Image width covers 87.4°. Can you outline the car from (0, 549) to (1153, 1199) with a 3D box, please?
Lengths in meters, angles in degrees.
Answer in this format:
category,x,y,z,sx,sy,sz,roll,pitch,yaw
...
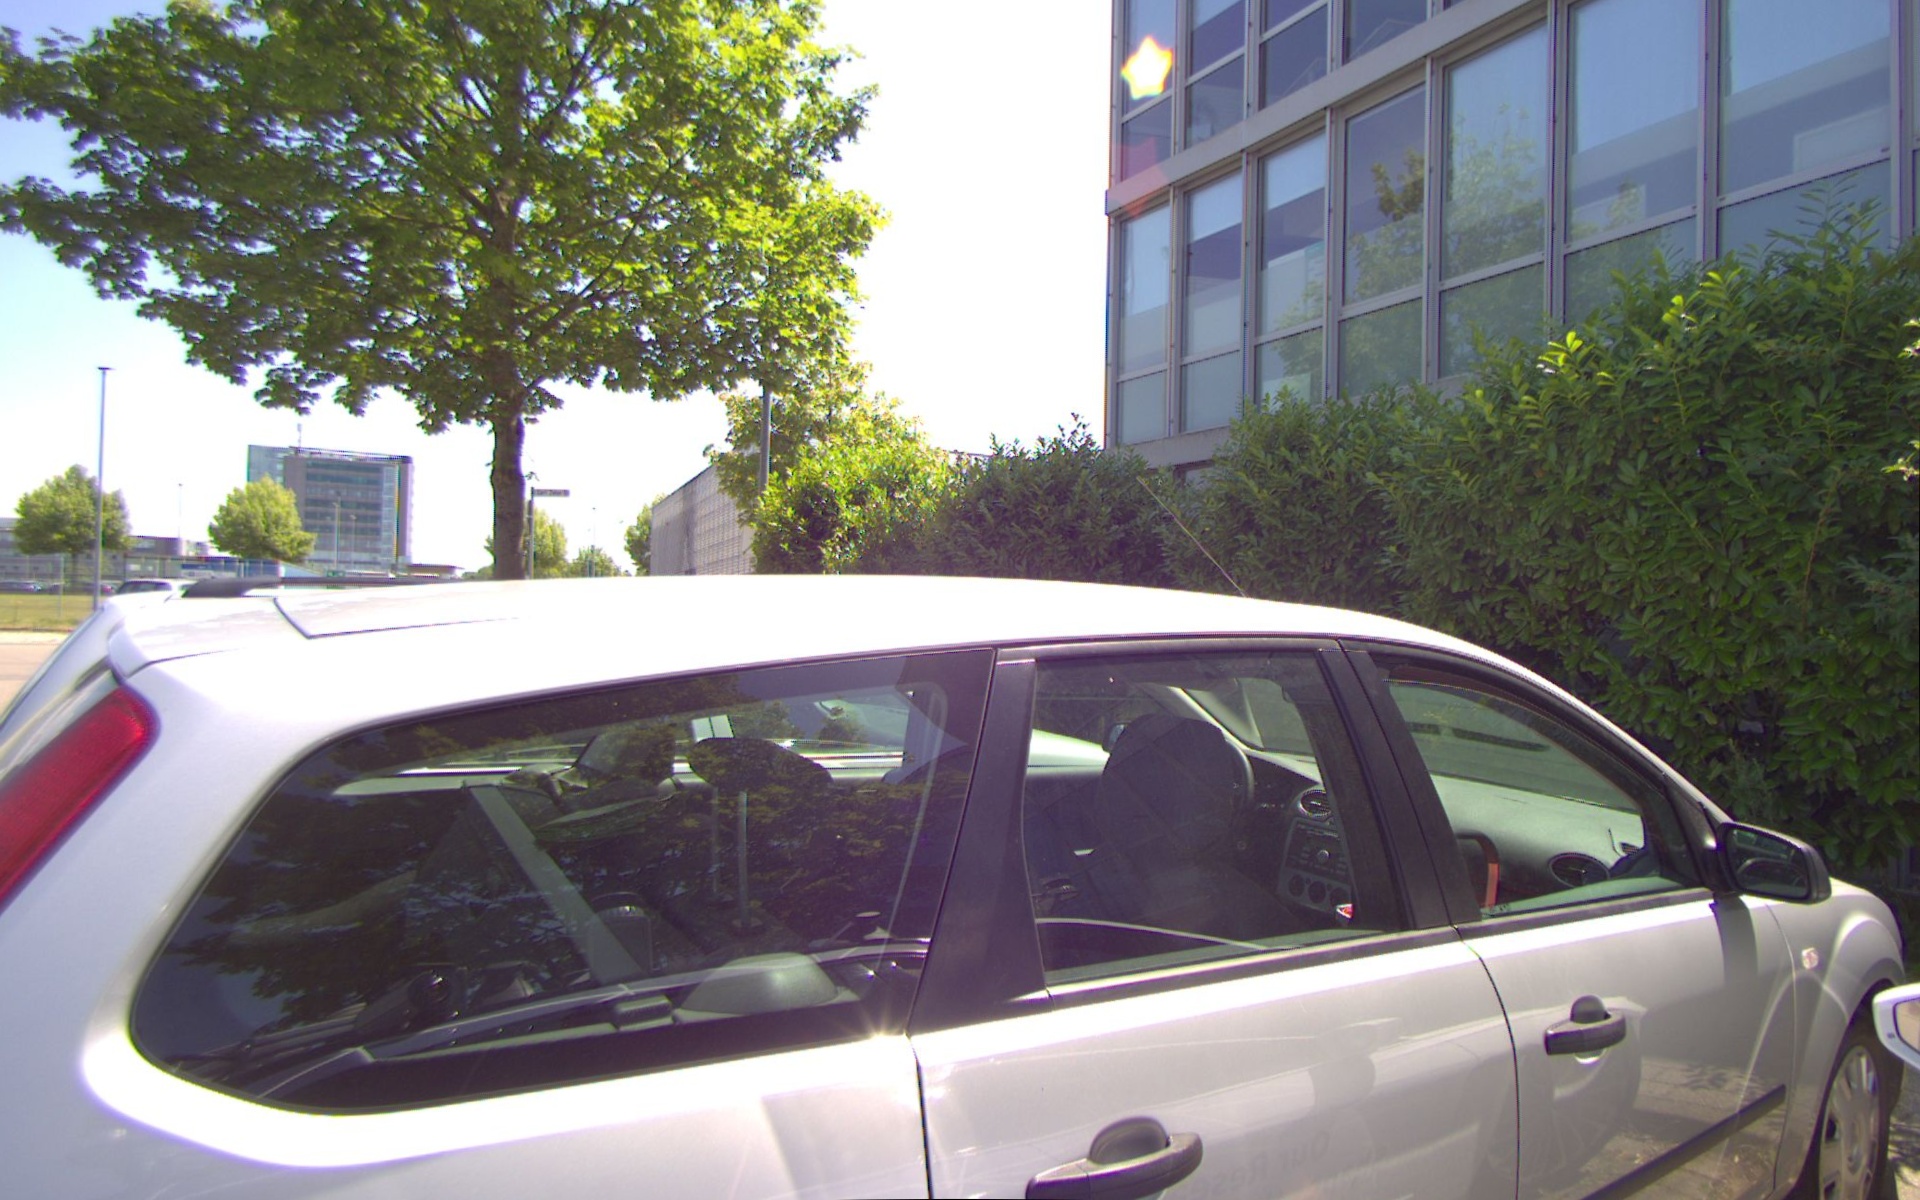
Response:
category,x,y,z,sx,sy,sz,roll,pitch,yaw
car,-1.257,0.665,3.750,3.851,1.499,1.637,1,0,-34

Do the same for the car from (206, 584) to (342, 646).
category,x,y,z,sx,sy,sz,roll,pitch,yaw
car,-18.708,0.391,27.609,1.624,1.542,3.991,1,0,-11

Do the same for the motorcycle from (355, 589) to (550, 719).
category,x,y,z,sx,sy,sz,roll,pitch,yaw
motorcycle,-5.829,0.596,11.604,1.969,1.408,0.480,1,0,-34

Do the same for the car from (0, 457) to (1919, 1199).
category,x,y,z,sx,sy,sz,roll,pitch,yaw
car,0.394,0.698,2.133,4.299,1.499,1.710,1,0,-31

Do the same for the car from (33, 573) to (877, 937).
category,x,y,z,sx,sy,sz,roll,pitch,yaw
car,-2.565,0.657,5.806,3.851,1.468,1.637,1,0,-34

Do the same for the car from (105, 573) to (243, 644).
category,x,y,z,sx,sy,sz,roll,pitch,yaw
car,-21.128,0.223,27.193,1.745,1.761,3.982,1,0,-20
